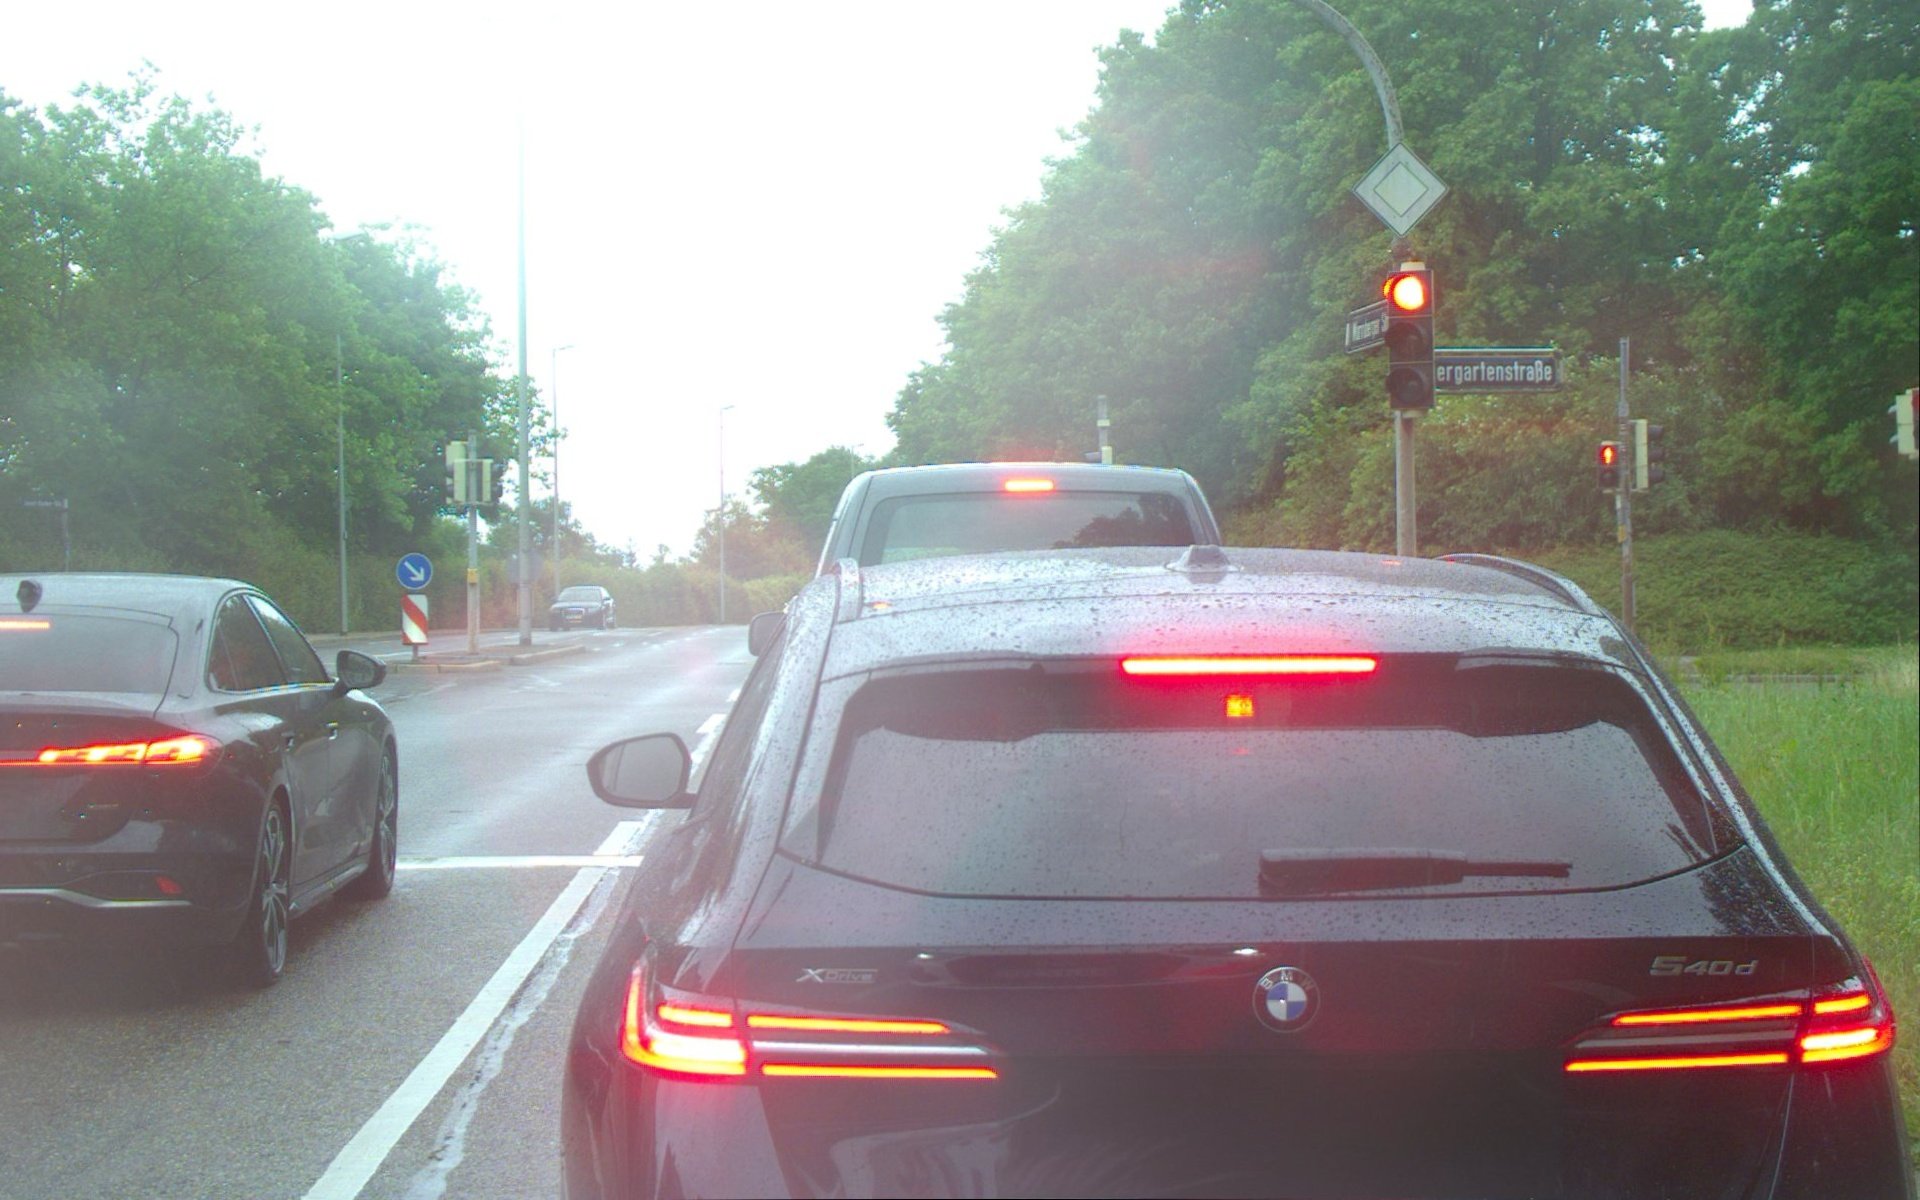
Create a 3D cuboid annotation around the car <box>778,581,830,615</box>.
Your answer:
[{"bbox_3d":[-7.689,-0.106,169.713,1.994,1.605,3.671,-2,0,6],"label":"car"}]

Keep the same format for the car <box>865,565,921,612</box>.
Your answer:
[{"bbox_3d":[-2.163,-0.384,111.597,1.697,1.422,3.514,-2,0,0],"label":"car"}]

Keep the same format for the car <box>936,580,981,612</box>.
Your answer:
[{"bbox_3d":[-0.055,-0.243,204.887,2.106,1.759,4.867,-2,0,6],"label":"car"}]

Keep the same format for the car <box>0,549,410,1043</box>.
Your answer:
[{"bbox_3d":[-3.359,0.630,12.969,1.993,1.522,4.328,-2,0,-3],"label":"car"}]

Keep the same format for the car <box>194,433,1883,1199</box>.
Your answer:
[{"bbox_3d":[0.194,0.594,6.176,1.898,1.546,4.614,0,0,3],"label":"car"}]

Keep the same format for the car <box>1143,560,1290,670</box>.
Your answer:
[{"bbox_3d":[3.865,0.201,52.409,1.873,1.537,3.952,-2,0,0],"label":"car"}]

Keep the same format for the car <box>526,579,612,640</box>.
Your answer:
[{"bbox_3d":[-12.549,0.289,110.516,1.994,1.820,4.000,-2,0,3],"label":"car"}]

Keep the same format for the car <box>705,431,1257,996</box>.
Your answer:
[{"bbox_3d":[0.066,0.362,13.342,1.818,1.862,3.952,0,0,0],"label":"car"}]
